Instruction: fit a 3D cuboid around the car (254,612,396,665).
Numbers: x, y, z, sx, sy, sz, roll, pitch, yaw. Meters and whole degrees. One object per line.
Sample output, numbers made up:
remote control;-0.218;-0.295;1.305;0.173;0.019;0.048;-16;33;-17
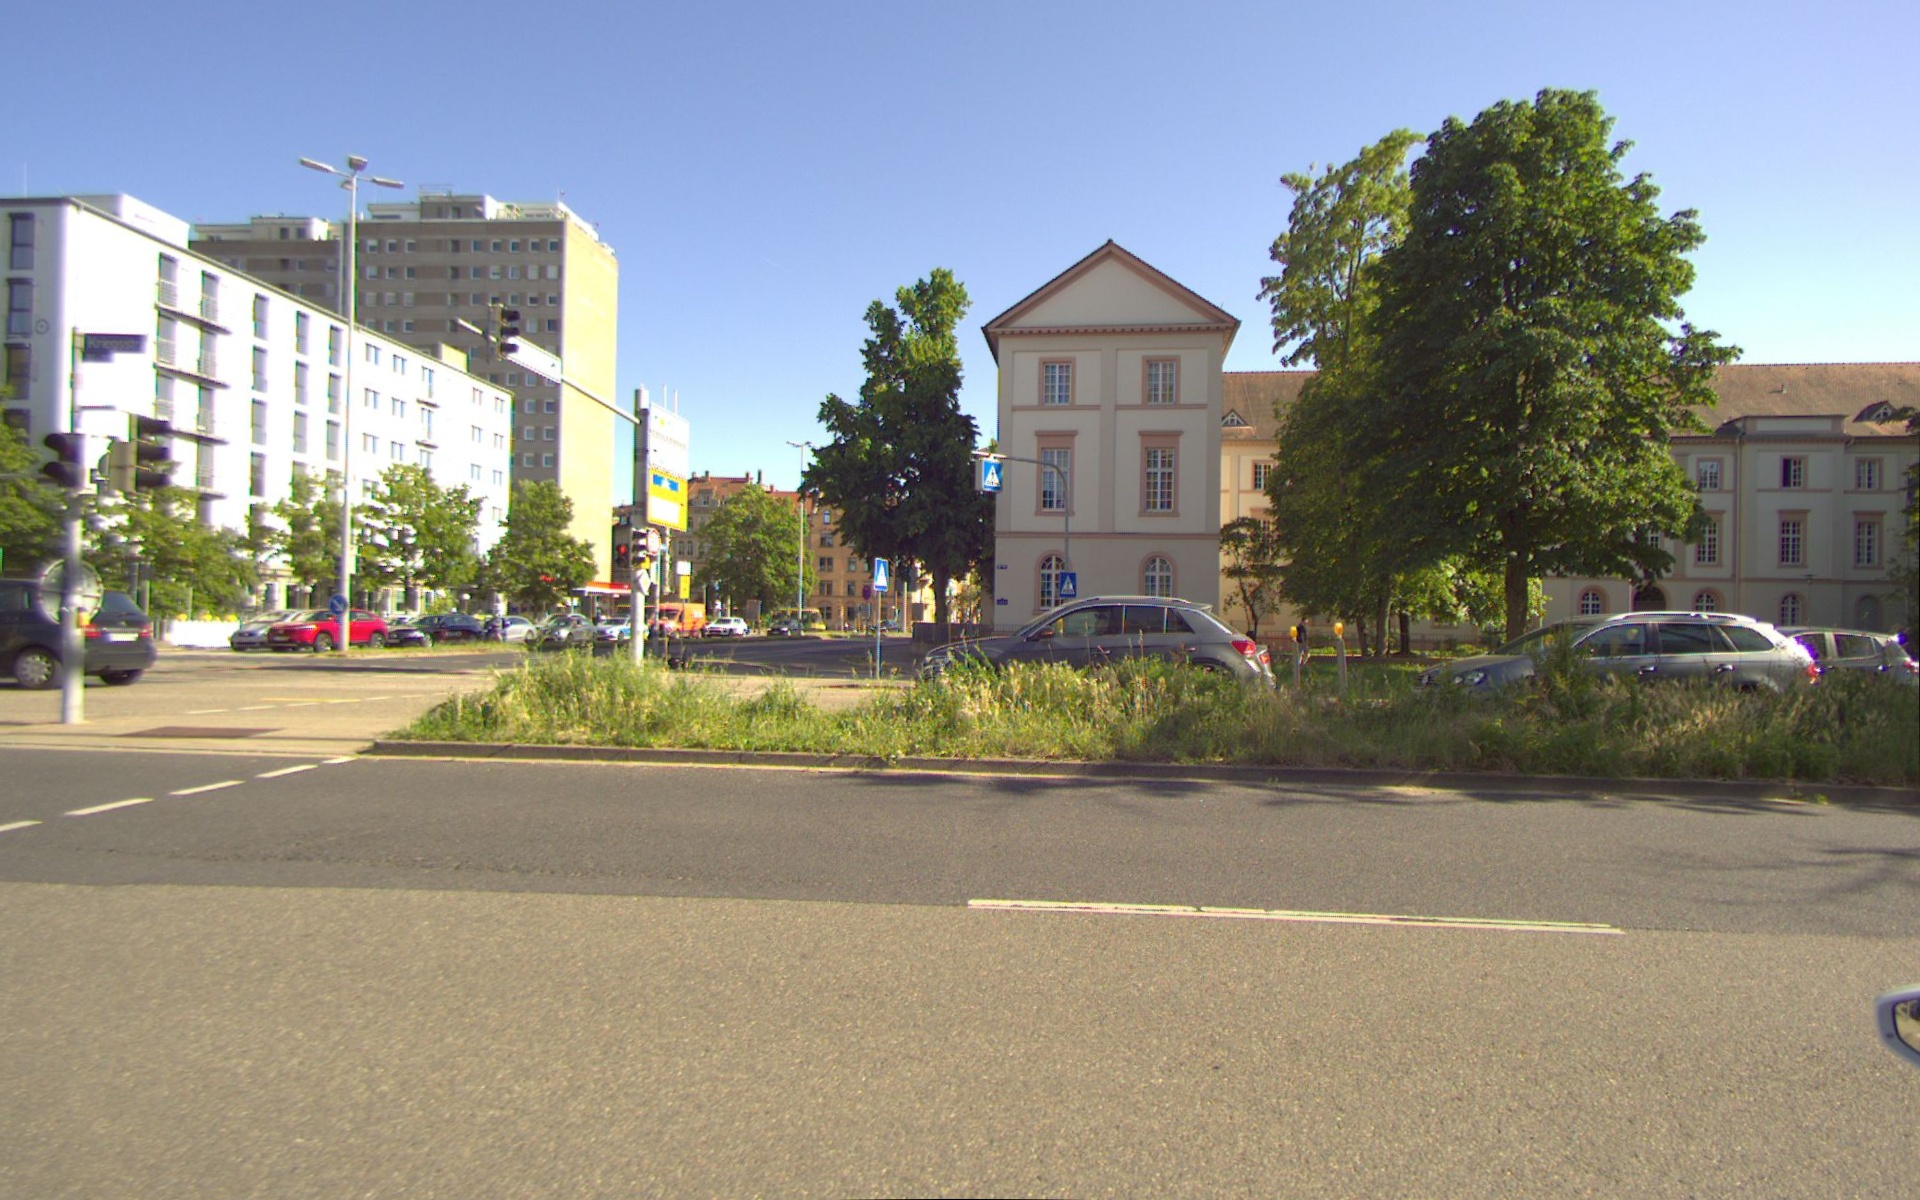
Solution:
car;-22.135;1.294;35.215;1.880;1.639;4.003;4;0;11

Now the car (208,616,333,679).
car;-25.683;1.716;37.604;1.962;2.040;3.998;4;0;-3

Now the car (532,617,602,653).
car;-20.094;1.765;51.579;1.530;1.639;4.002;4;0;7

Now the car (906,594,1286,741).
car;1.554;0.763;12.284;4.260;1.539;1.802;2;0;1

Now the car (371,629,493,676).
car;-21.785;2.129;41.672;1.880;1.639;4.714;4;0;11

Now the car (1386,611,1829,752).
car;7.795;0.937;12.414;4.276;1.539;1.802;1;0;1

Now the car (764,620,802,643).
car;-15.270;2.700;86.930;1.960;1.840;4.002;4;0;8

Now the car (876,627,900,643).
car;-7.852;3.814;109.718;1.816;1.728;4.003;1;-1;7

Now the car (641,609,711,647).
car;-18.422;1.763;65.502;1.880;2.260;5.904;4;0;11

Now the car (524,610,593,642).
car;-22.732;1.457;57.032;1.880;1.639;4.002;4;0;7

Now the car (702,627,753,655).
car;-17.430;3.020;75.517;1.880;1.838;4.714;4;0;10

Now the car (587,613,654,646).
car;-19.381;1.647;57.620;1.880;1.639;4.713;4;0;4

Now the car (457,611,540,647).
car;-23.262;1.422;50.760;1.880;1.639;4.002;4;0;7

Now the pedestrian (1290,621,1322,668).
pedestrian;11.670;1.489;33.895;0.766;1.556;0.742;1;-1;-3

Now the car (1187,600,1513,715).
car;5.820;0.829;15.391;4.260;1.539;1.802;2;0;1

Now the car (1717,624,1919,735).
car;14.541;1.221;15.534;4.260;1.539;1.802;2;0;1

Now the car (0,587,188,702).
car;-14.419;0.614;15.000;4.196;1.606;1.862;1;-1;-4
